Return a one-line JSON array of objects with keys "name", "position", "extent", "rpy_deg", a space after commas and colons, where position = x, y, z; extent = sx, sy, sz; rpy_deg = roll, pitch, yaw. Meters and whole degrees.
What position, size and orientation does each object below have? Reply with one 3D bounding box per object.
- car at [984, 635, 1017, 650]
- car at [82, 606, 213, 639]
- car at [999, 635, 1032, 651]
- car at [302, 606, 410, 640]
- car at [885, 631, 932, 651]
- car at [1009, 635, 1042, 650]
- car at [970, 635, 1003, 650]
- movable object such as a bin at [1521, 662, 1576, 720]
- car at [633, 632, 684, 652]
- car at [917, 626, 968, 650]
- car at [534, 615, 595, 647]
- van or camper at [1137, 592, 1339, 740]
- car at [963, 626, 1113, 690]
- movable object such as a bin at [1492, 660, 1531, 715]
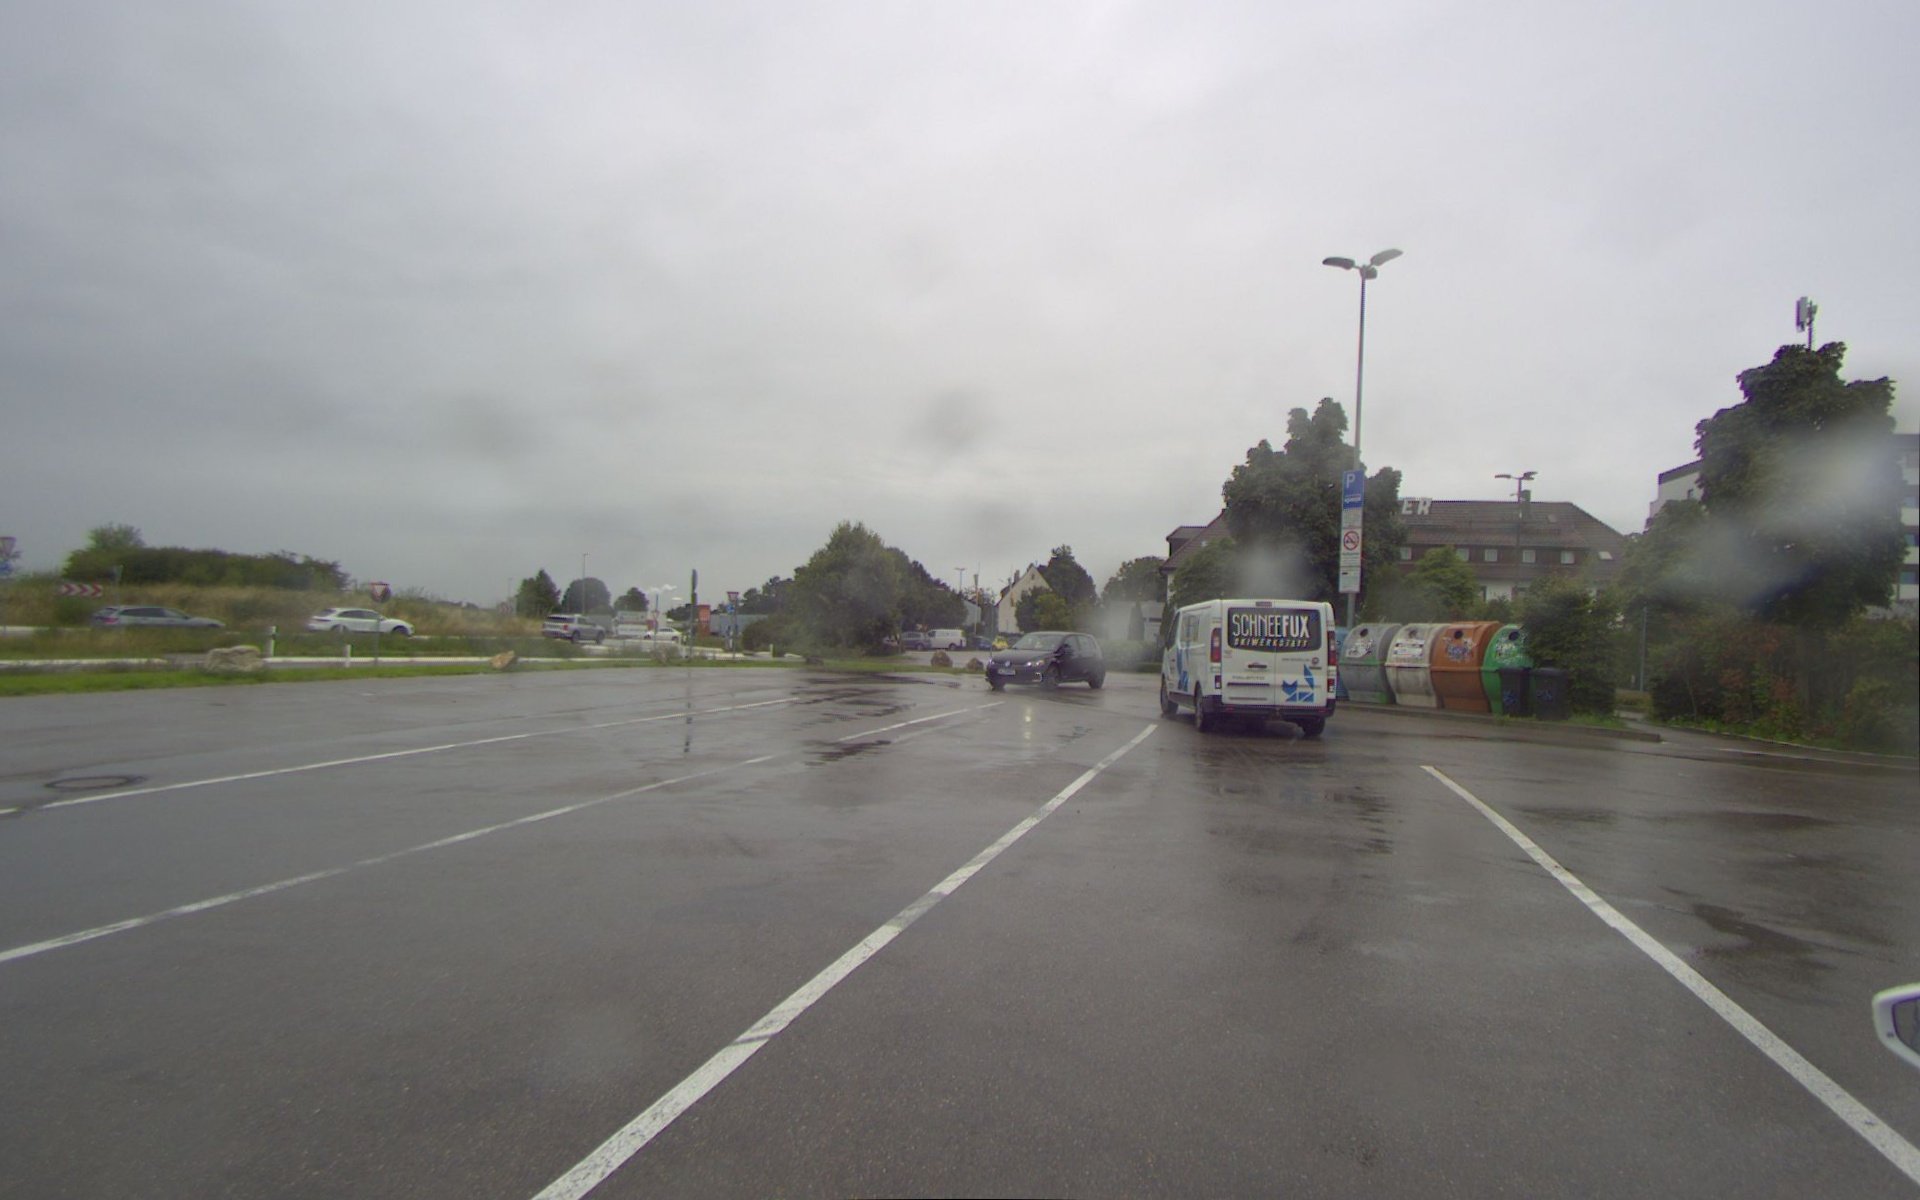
[{"name": "car", "position": [4.111, 4.377, 103.263], "extent": [1.569, 1.477, 3.647], "rpy_deg": [2, -2, -33]}, {"name": "car", "position": [-34.826, 0.986, 43.172], "extent": [1.663, 1.343, 4.037], "rpy_deg": [1, -2, 29]}, {"name": "car", "position": [5.697, 4.455, 104.063], "extent": [1.569, 1.477, 3.647], "rpy_deg": [2, -2, -33]}, {"name": "car", "position": [-30.419, 1.176, 50.660], "extent": [1.670, 1.605, 4.362], "rpy_deg": [0, -2, 43]}, {"name": "car", "position": [-4.286, 3.404, 83.982], "extent": [3.668, 1.571, 1.452], "rpy_deg": [1, -1, 13]}, {"name": "car", "position": [6.916, 4.541, 106.332], "extent": [1.569, 1.477, 3.647], "rpy_deg": [2, -2, -33]}, {"name": "car", "position": [2.644, 4.329, 102.121], "extent": [1.539, 1.477, 3.647], "rpy_deg": [2, -2, -33]}, {"name": "movable object such as a bin", "position": [10.023, 1.546, 17.110], "extent": [0.617, 0.932, 0.557], "rpy_deg": [1, -1, 5]}, {"name": "car", "position": [-28.668, 3.974, 95.725], "extent": [1.725, 1.781, 4.341], "rpy_deg": [-1, -3, 44]}, {"name": "car", "position": [-1.590, 3.517, 93.506], "extent": [4.443, 2.060, 1.646], "rpy_deg": [1, -1, 13]}, {"name": "car", "position": [-25.009, 1.966, 63.747], "extent": [1.961, 1.897, 4.646], "rpy_deg": [1, -2, 0]}, {"name": "van or camper", "position": [4.303, 0.988, 16.515], "extent": [2.151, 1.971, 5.200], "rpy_deg": [2, -2, 4]}, {"name": "car", "position": [2.071, 1.465, 25.803], "extent": [1.754, 1.452, 4.058], "rpy_deg": [0, -2, 41]}, {"name": "movable object such as a bin", "position": [9.852, 1.560, 17.953], "extent": [0.485, 0.932, 0.416], "rpy_deg": [1, -1, 5]}]
